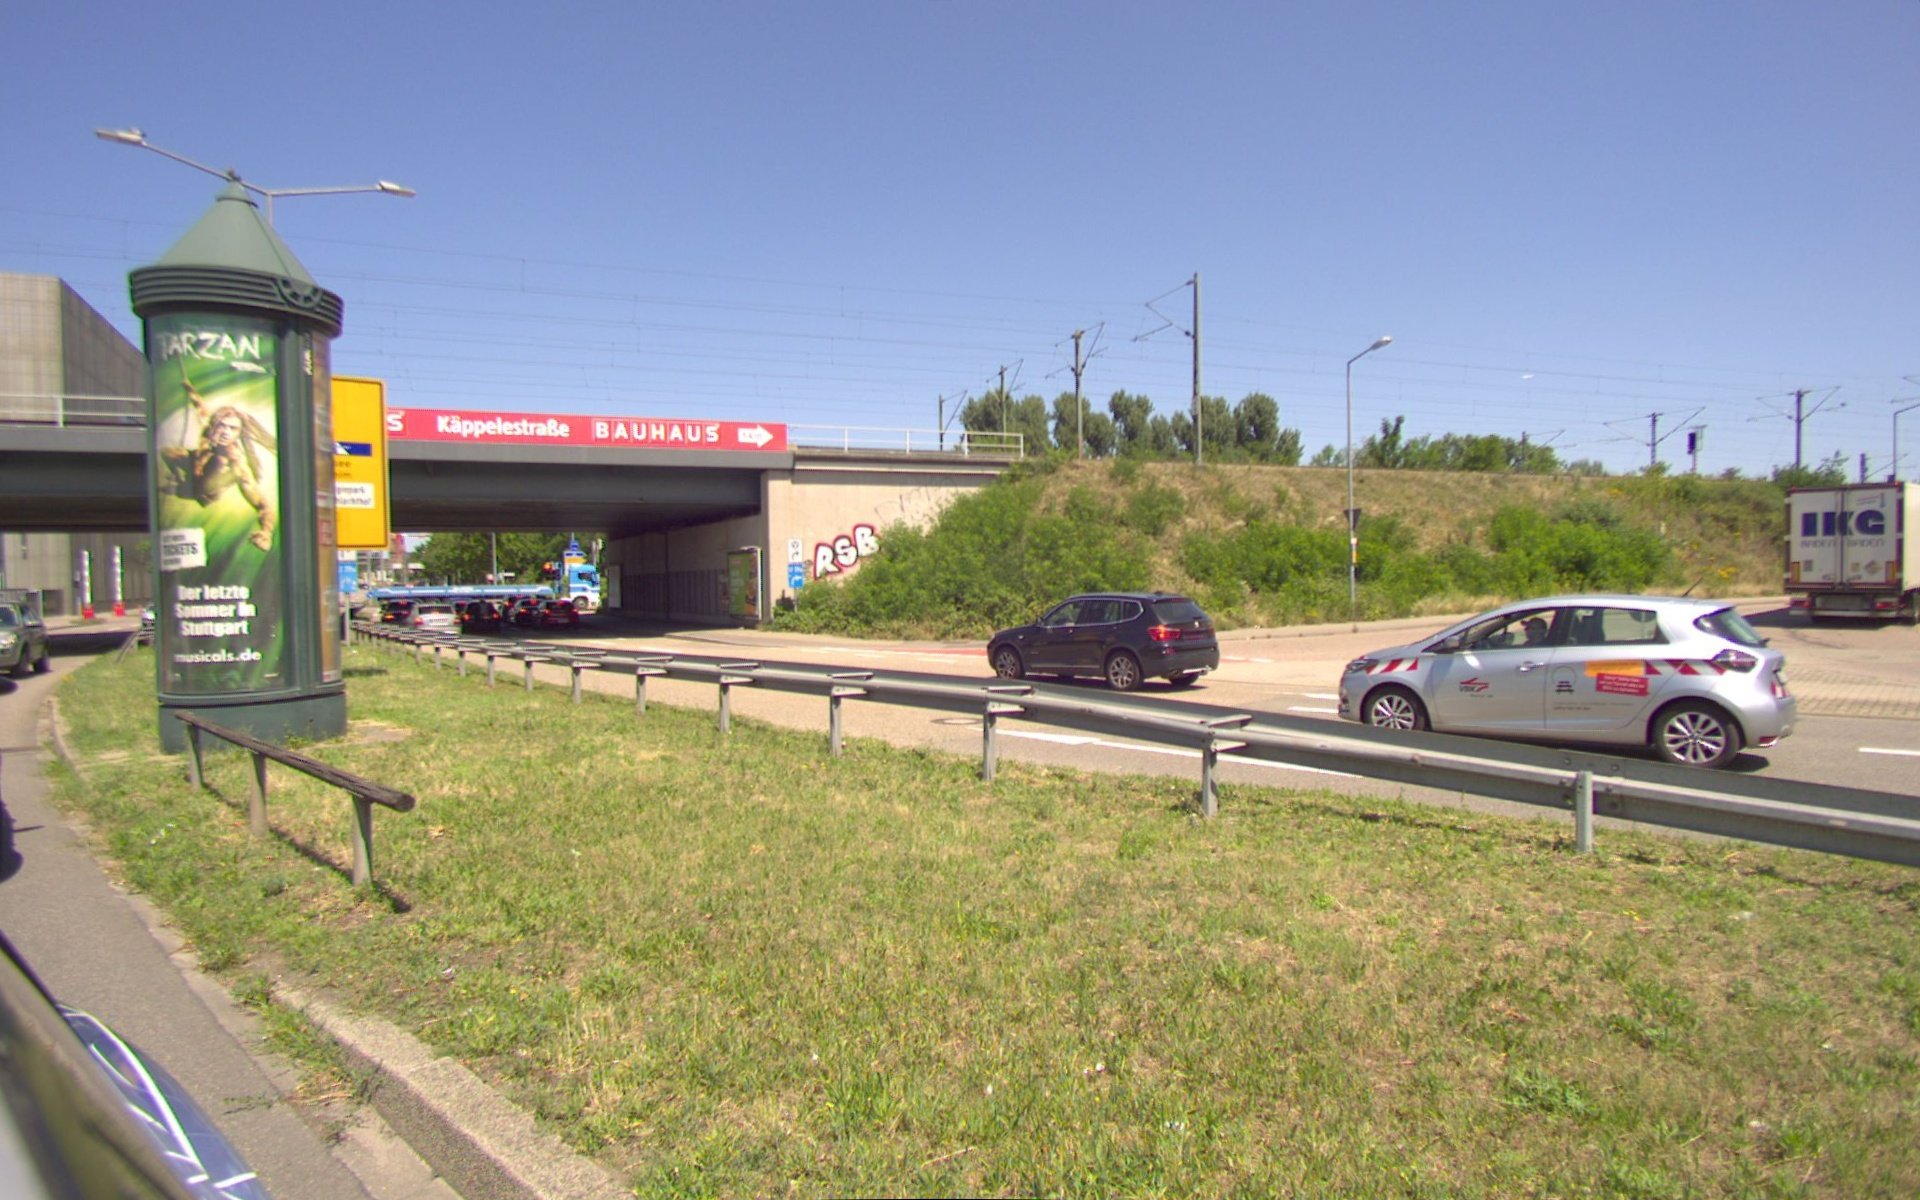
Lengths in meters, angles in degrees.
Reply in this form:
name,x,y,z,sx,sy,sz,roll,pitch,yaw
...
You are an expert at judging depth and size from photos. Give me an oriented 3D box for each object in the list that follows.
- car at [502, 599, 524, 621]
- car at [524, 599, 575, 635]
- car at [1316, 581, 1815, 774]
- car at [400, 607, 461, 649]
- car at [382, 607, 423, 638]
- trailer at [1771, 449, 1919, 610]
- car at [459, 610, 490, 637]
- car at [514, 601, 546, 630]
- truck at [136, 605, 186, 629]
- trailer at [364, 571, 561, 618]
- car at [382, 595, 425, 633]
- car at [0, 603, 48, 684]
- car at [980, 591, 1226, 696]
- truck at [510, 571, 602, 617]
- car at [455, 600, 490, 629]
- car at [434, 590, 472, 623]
name,x,y,z,sx,sy,sz,roll,pitch,yaw
car,-26.713,0.604,60.423,1.166,1.257,2.701,-1,0,-24
car,-20.147,0.817,49.593,1.747,1.680,4.027,-1,0,-30
car,5.929,0.678,10.247,4.073,1.579,1.616,-2,-2,43
car,-19.106,0.977,36.444,1.612,1.413,4.233,1,-1,-32
car,-25.391,0.979,46.177,1.388,1.329,3.272,-1,0,-25
trailer,28.728,-1.874,31.190,12.501,4.081,3.027,-1,-1,-39
car,-23.168,1.105,48.375,1.250,1.194,2.787,-1,0,-24
car,-23.203,0.819,54.557,1.548,1.514,3.418,-1,0,-24
truck,-51.999,1.071,65.906,1.702,1.513,4.013,-1,0,-26
trailer,-38.269,-0.415,78.219,13.692,3.398,2.967,-1,0,-2
car,-29.338,0.713,53.411,1.875,1.874,4.013,-1,0,-28
car,-21.602,0.929,22.377,1.817,1.708,3.708,-1,0,-37
car,2.431,0.732,18.200,1.470,1.645,4.479,-1,0,-42
truck,-31.583,-0.504,79.159,6.452,3.443,3.033,-1,0,-26
car,-26.281,0.752,54.647,1.592,1.487,3.444,-1,0,-24
car,-29.686,0.379,59.200,1.875,1.874,4.013,-1,0,-28
